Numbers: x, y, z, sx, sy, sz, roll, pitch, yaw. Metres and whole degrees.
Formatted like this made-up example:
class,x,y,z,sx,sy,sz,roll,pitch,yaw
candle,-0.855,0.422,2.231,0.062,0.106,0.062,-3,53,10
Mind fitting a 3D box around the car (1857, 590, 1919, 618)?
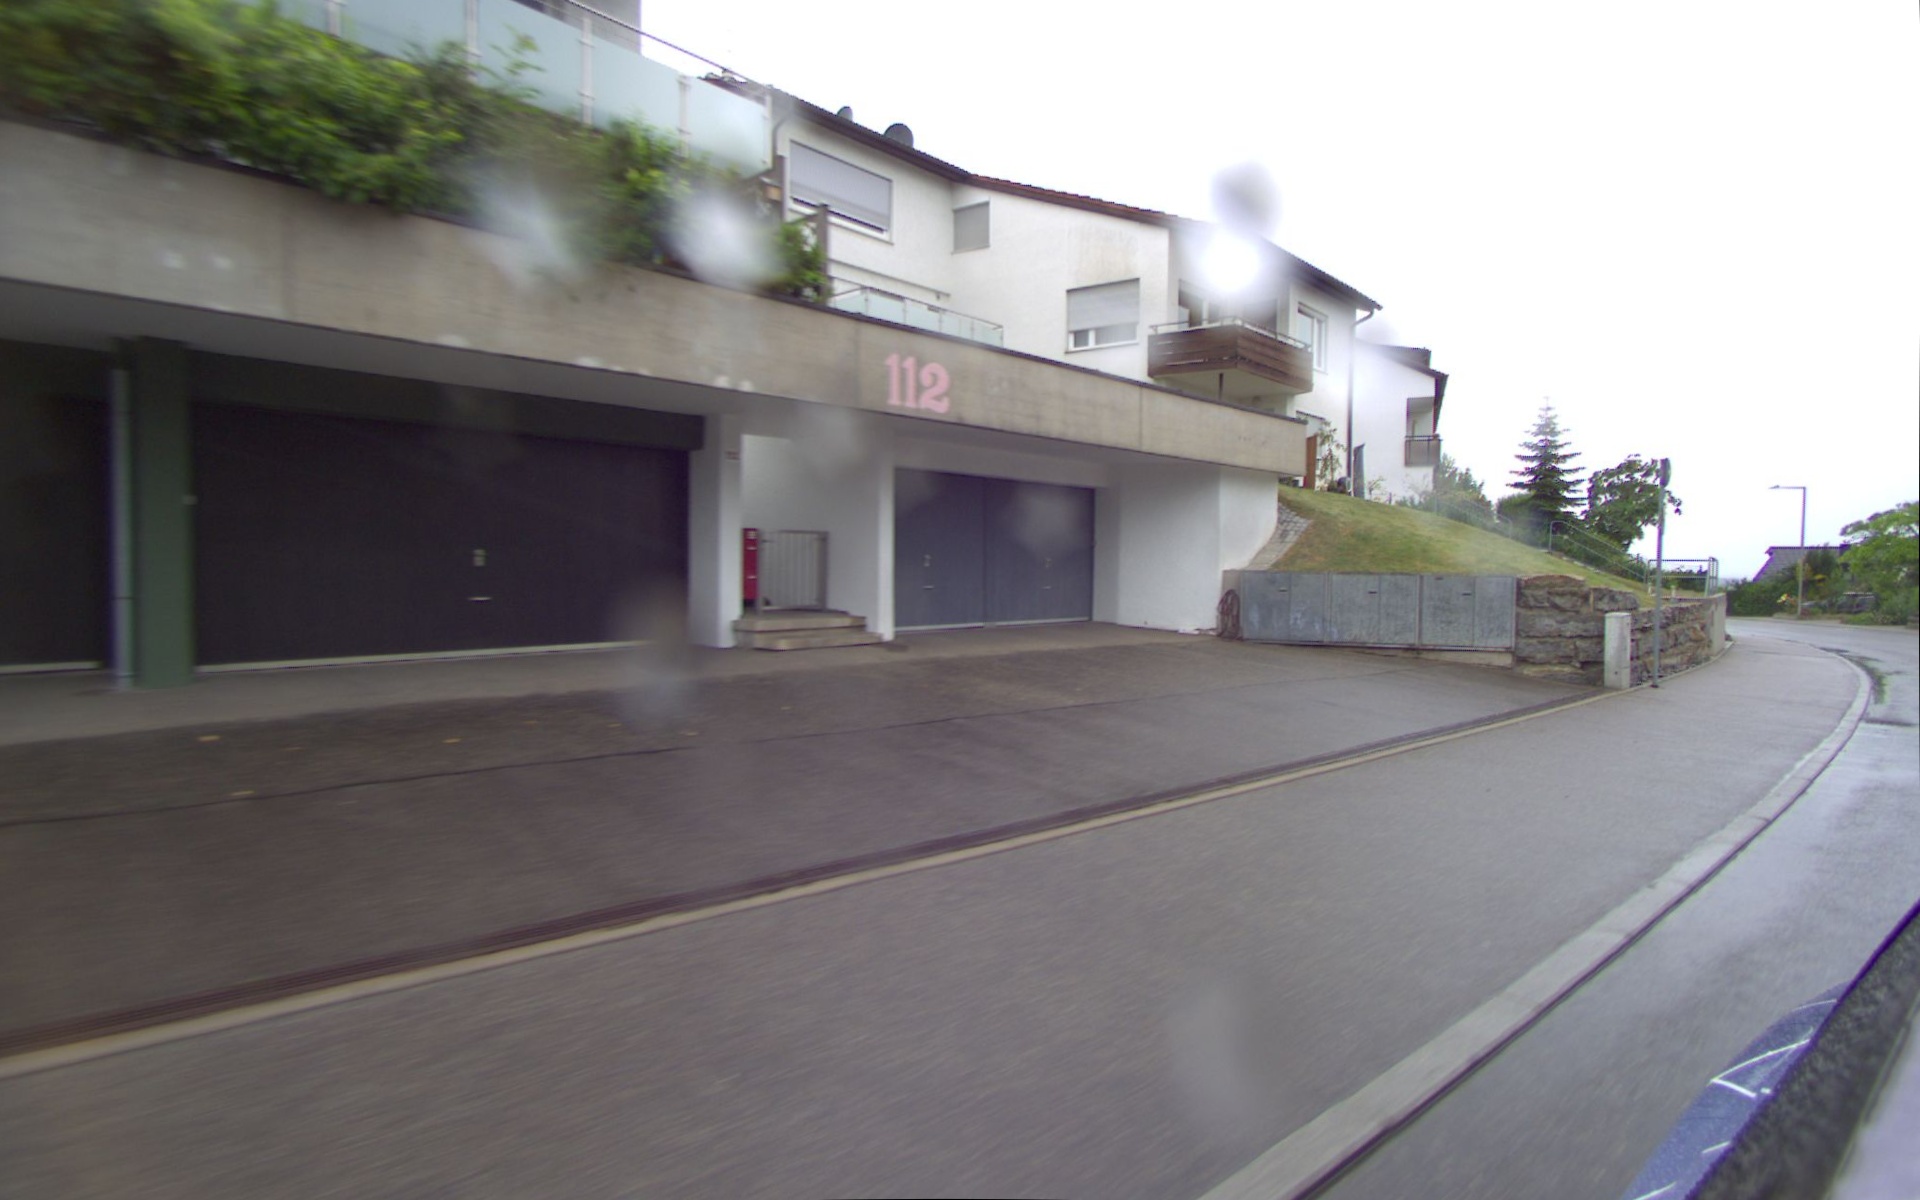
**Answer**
class,x,y,z,sx,sy,sz,roll,pitch,yaw
car,52.442,0.228,56.695,1.428,1.499,3.039,1,1,-38
